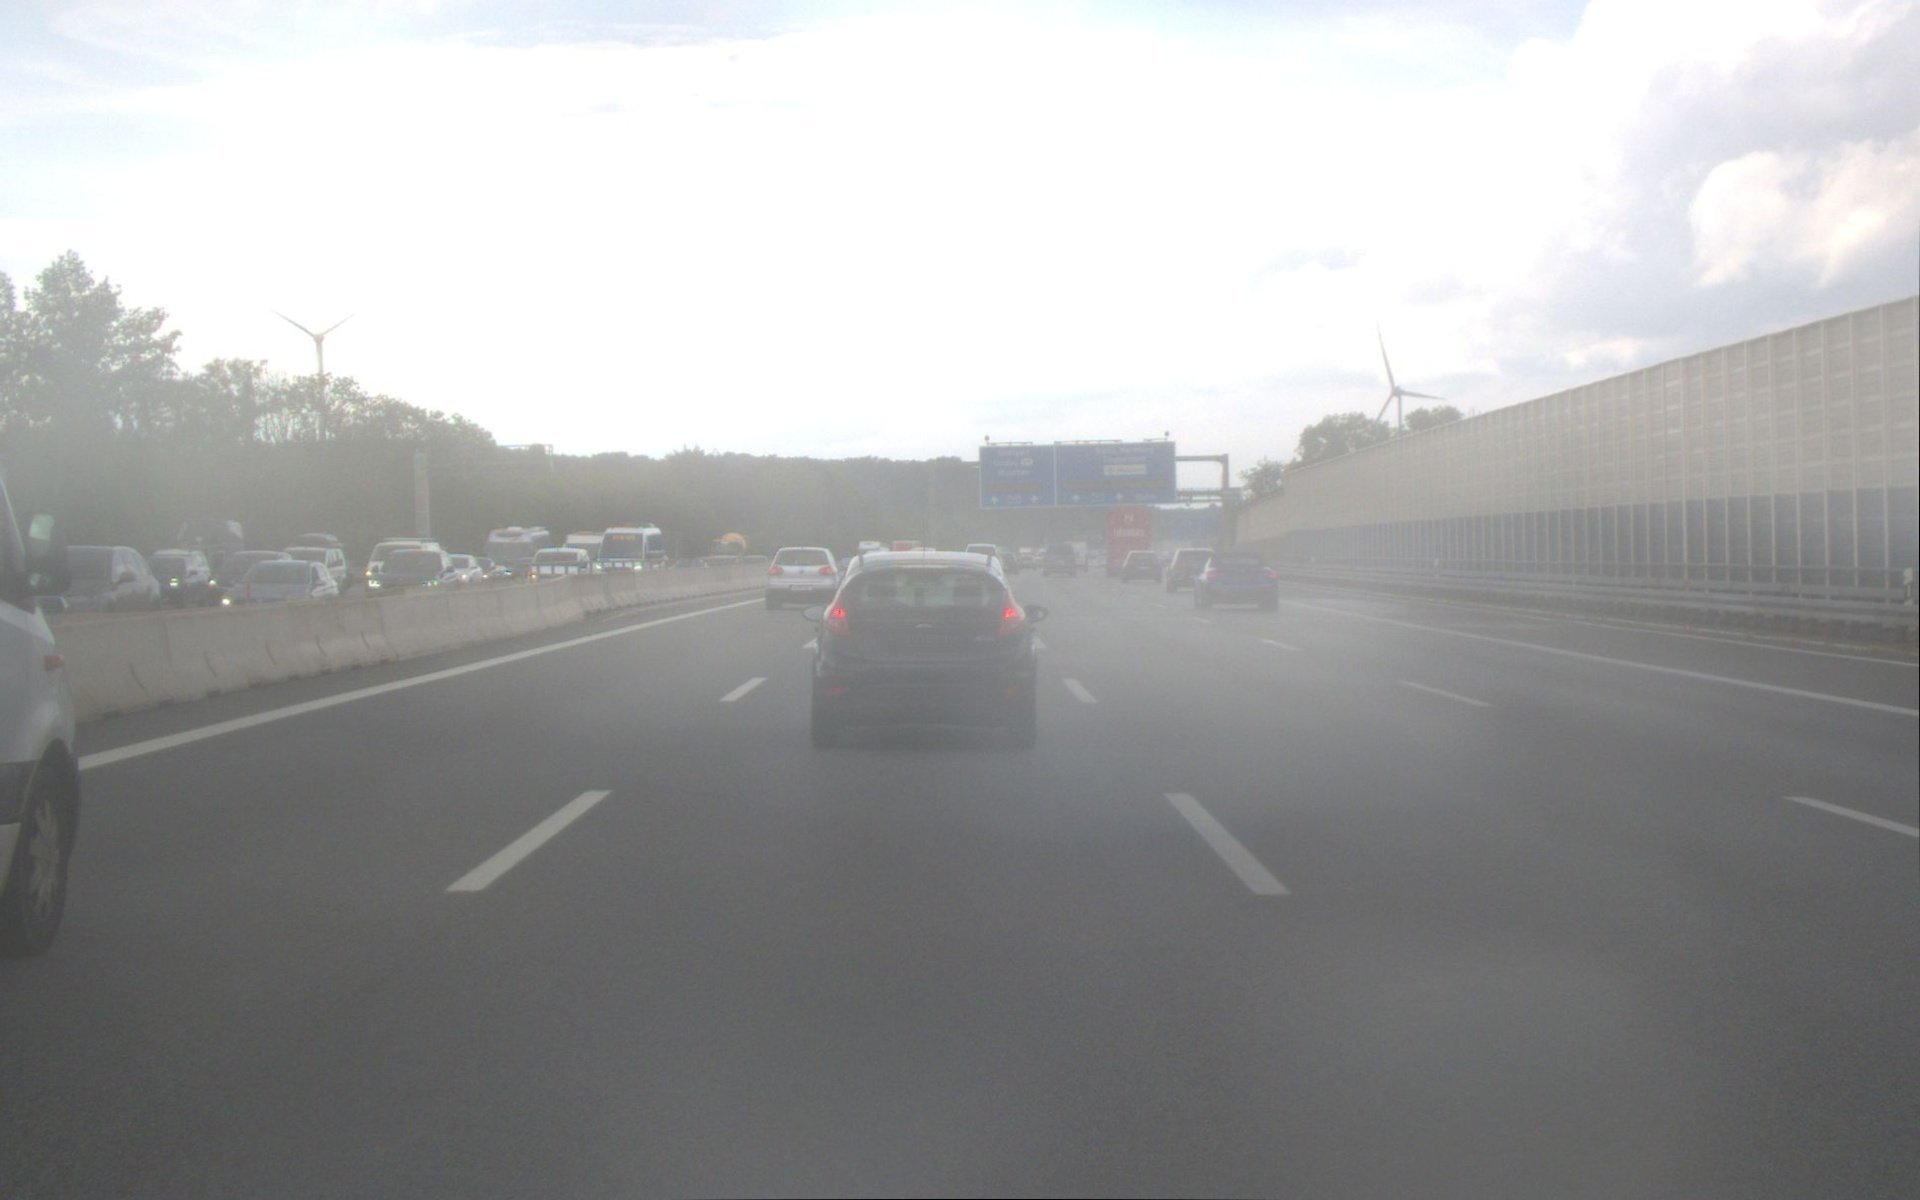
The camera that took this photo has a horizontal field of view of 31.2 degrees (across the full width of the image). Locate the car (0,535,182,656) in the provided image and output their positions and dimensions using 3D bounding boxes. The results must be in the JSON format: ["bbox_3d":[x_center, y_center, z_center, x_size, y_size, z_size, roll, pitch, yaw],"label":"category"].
[{"bbox_3d":[-14.552,-0.108,56.419,2.060,1.873,6.328,0,1,1],"label":"car"}]

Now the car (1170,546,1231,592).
[{"bbox_3d":[8.346,-1.079,119.743,1.882,1.537,4.433,-1,0,1],"label":"car"}]

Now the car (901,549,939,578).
[{"bbox_3d":[-2.139,-1.966,186.134,1.968,1.555,4.433,-1,0,1],"label":"car"}]

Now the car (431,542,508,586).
[{"bbox_3d":[-17.503,-1.288,122.835,2.060,1.529,4.519,0,1,1],"label":"car"}]

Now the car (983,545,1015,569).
[{"bbox_3d":[2.556,-2.791,224.738,1.968,1.555,4.433,-1,0,-1],"label":"car"}]

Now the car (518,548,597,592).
[{"bbox_3d":[-14.005,-1.062,119.939,2.060,1.529,5.470,0,1,1],"label":"car"}]

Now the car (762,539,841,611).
[{"bbox_3d":[-3.759,-0.624,82.235,1.717,1.618,4.279,0,2,0],"label":"car"}]

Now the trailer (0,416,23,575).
[{"bbox_3d":[-25.808,-2.536,81.870,2.931,4.018,14.454,0,1,0],"label":"trailer"}]

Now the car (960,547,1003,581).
[{"bbox_3d":[1.037,-1.676,160.930,1.968,1.555,4.433,-1,0,1],"label":"car"}]

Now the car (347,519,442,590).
[{"bbox_3d":[-18.286,-1.473,111.436,2.060,2.228,5.894,0,1,1],"label":"car"}]

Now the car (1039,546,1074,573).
[{"bbox_3d":[5.650,-2.371,201.271,1.968,1.555,4.433,-1,0,0],"label":"car"}]

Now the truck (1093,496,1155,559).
[{"bbox_3d":[9.748,-4.337,205.700,3.152,3.589,12.700,1,1,1],"label":"truck"}]

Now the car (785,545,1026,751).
[{"bbox_3d":[-0.437,0.310,26.657,1.717,1.412,4.279,0,2,-1],"label":"car"}]

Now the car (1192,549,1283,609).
[{"bbox_3d":[6.716,-0.508,83.524,1.950,1.413,4.232,0,1,1],"label":"car"}]

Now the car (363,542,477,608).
[{"bbox_3d":[-13.925,-0.665,88.923,2.060,1.640,5.380,0,1,1],"label":"car"}]

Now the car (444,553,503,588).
[{"bbox_3d":[-21.004,-1.277,148.604,1.723,1.459,4.519,1,0,3],"label":"car"}]

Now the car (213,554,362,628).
[{"bbox_3d":[-14.264,-0.221,73.195,2.060,1.529,5.470,0,1,1],"label":"car"}]

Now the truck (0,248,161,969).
[{"bbox_3d":[-4.360,0.048,10.608,2.306,2.431,7.149,0,1,-2],"label":"truck"}]

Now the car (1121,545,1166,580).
[{"bbox_3d":[8.453,-1.726,159.036,1.882,1.555,4.433,-1,0,1],"label":"car"}]
